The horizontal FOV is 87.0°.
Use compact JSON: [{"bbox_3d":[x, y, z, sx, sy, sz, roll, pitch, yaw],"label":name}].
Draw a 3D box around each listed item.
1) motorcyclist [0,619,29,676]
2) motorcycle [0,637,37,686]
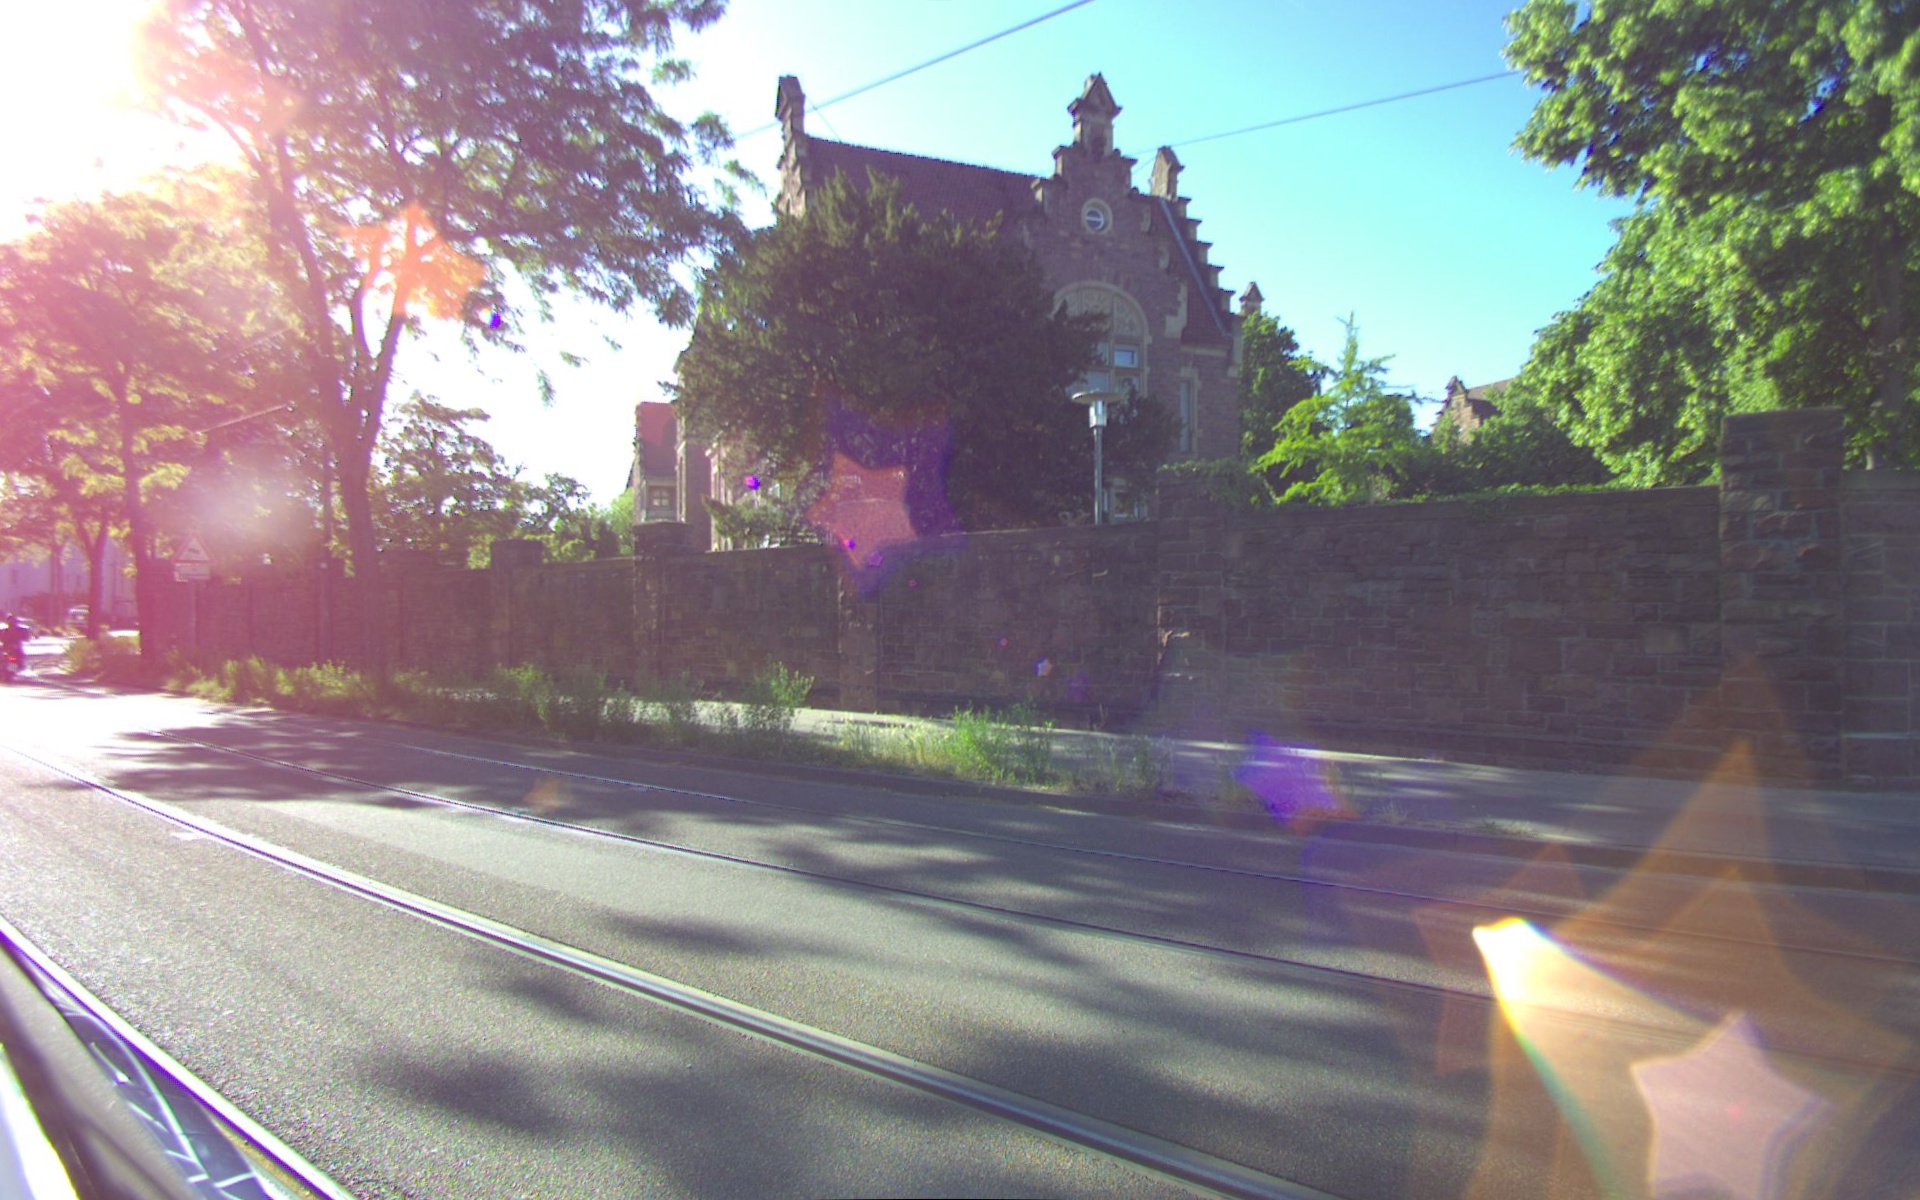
[{"bbox_3d":[-23.934,1.184,25.261,0.907,1.393,0.881,-1,-1,36],"label":"motorcyclist"},{"bbox_3d":[-23.941,1.519,25.261,2.425,1.162,0.903,-1,-1,37],"label":"motorcycle"}]
